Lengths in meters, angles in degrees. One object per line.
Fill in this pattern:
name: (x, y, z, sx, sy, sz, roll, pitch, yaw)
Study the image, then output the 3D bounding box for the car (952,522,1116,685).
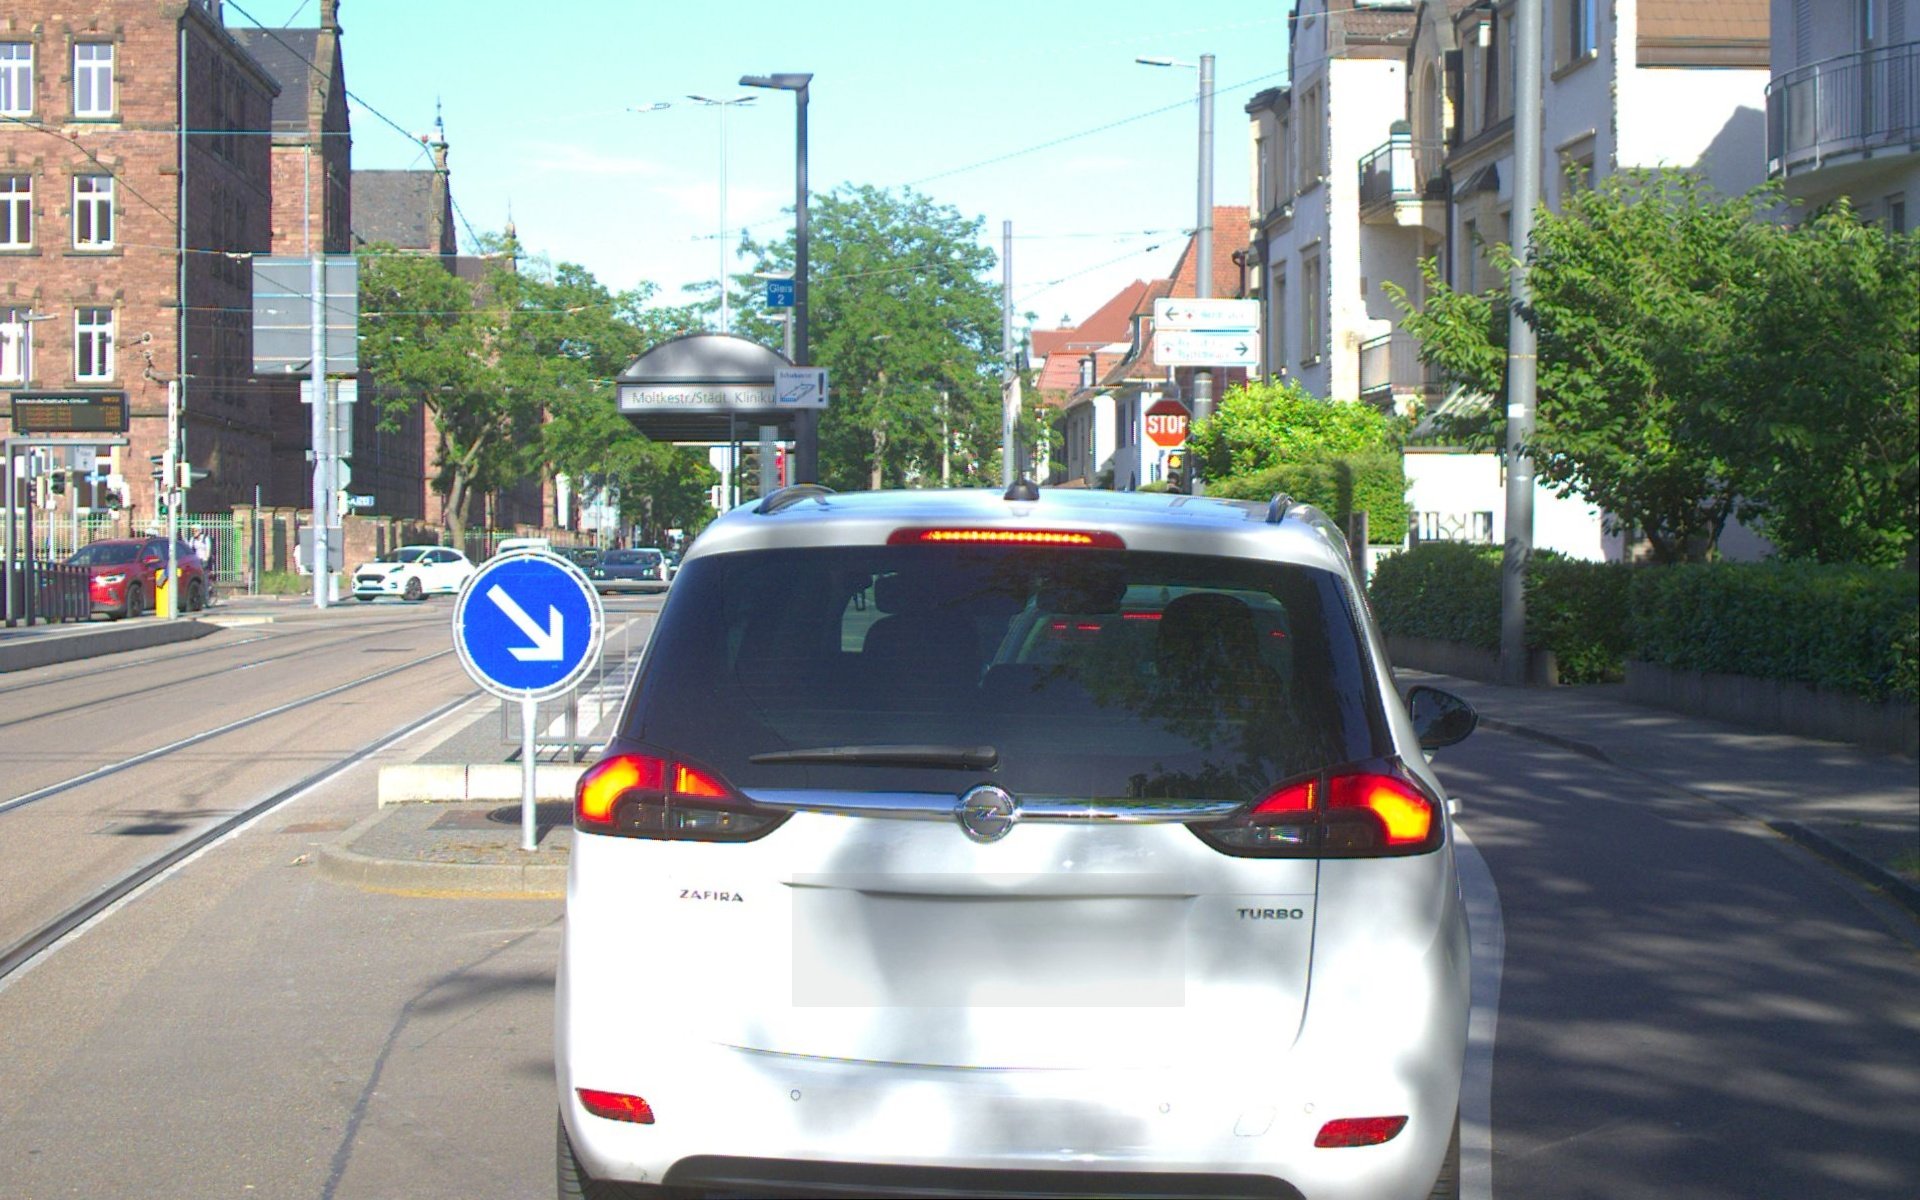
car: (0.746, 0.020, 36.789, 1.596, 1.629, 3.901, 1, 1, -1)

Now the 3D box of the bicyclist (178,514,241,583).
bicyclist: (-17.071, -1.170, 78.199, 0.761, 1.531, 1.346, -1, 1, 21)

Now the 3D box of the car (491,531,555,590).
car: (-13.338, -1.216, 104.782, 1.826, 1.782, 4.256, 0, 1, -9)

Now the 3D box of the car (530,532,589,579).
car: (-14.205, -1.563, 122.134, 1.826, 1.611, 4.328, 1, 0, -4)

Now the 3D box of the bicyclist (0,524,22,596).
bicyclist: (-19.923, -0.833, 70.884, 0.756, 1.465, 1.190, 0, 1, 4)

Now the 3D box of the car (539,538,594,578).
car: (-14.959, -1.590, 130.874, 1.826, 1.441, 4.328, 1, 0, -3)

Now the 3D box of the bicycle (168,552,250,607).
bicycle: (-17.061, -0.478, 78.177, 0.778, 1.226, 2.086, 1, 1, 22)

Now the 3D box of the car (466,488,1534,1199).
car: (0.228, 0.571, 8.100, 1.878, 1.579, 3.999, 1, 1, 5)

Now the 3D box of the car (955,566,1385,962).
car: (0.948, 0.594, 14.793, 1.569, 1.396, 3.783, 2, 1, 5)

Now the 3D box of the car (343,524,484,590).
car: (-15.230, -1.211, 95.973, 1.701, 1.803, 3.993, 1, 1, 32)

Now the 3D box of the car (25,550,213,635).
car: (-16.444, -0.176, 67.447, 1.819, 1.601, 4.357, 0, 1, 13)

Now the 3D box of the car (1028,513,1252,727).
car: (1.464, 0.122, 29.176, 1.596, 1.629, 3.901, 2, 1, -1)

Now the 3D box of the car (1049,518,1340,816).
car: (1.467, 0.334, 21.041, 1.569, 1.609, 3.783, 2, 1, 5)

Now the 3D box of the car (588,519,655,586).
car: (-10.357, -1.458, 105.317, 1.993, 2.007, 4.001, 0, 1, -5)
